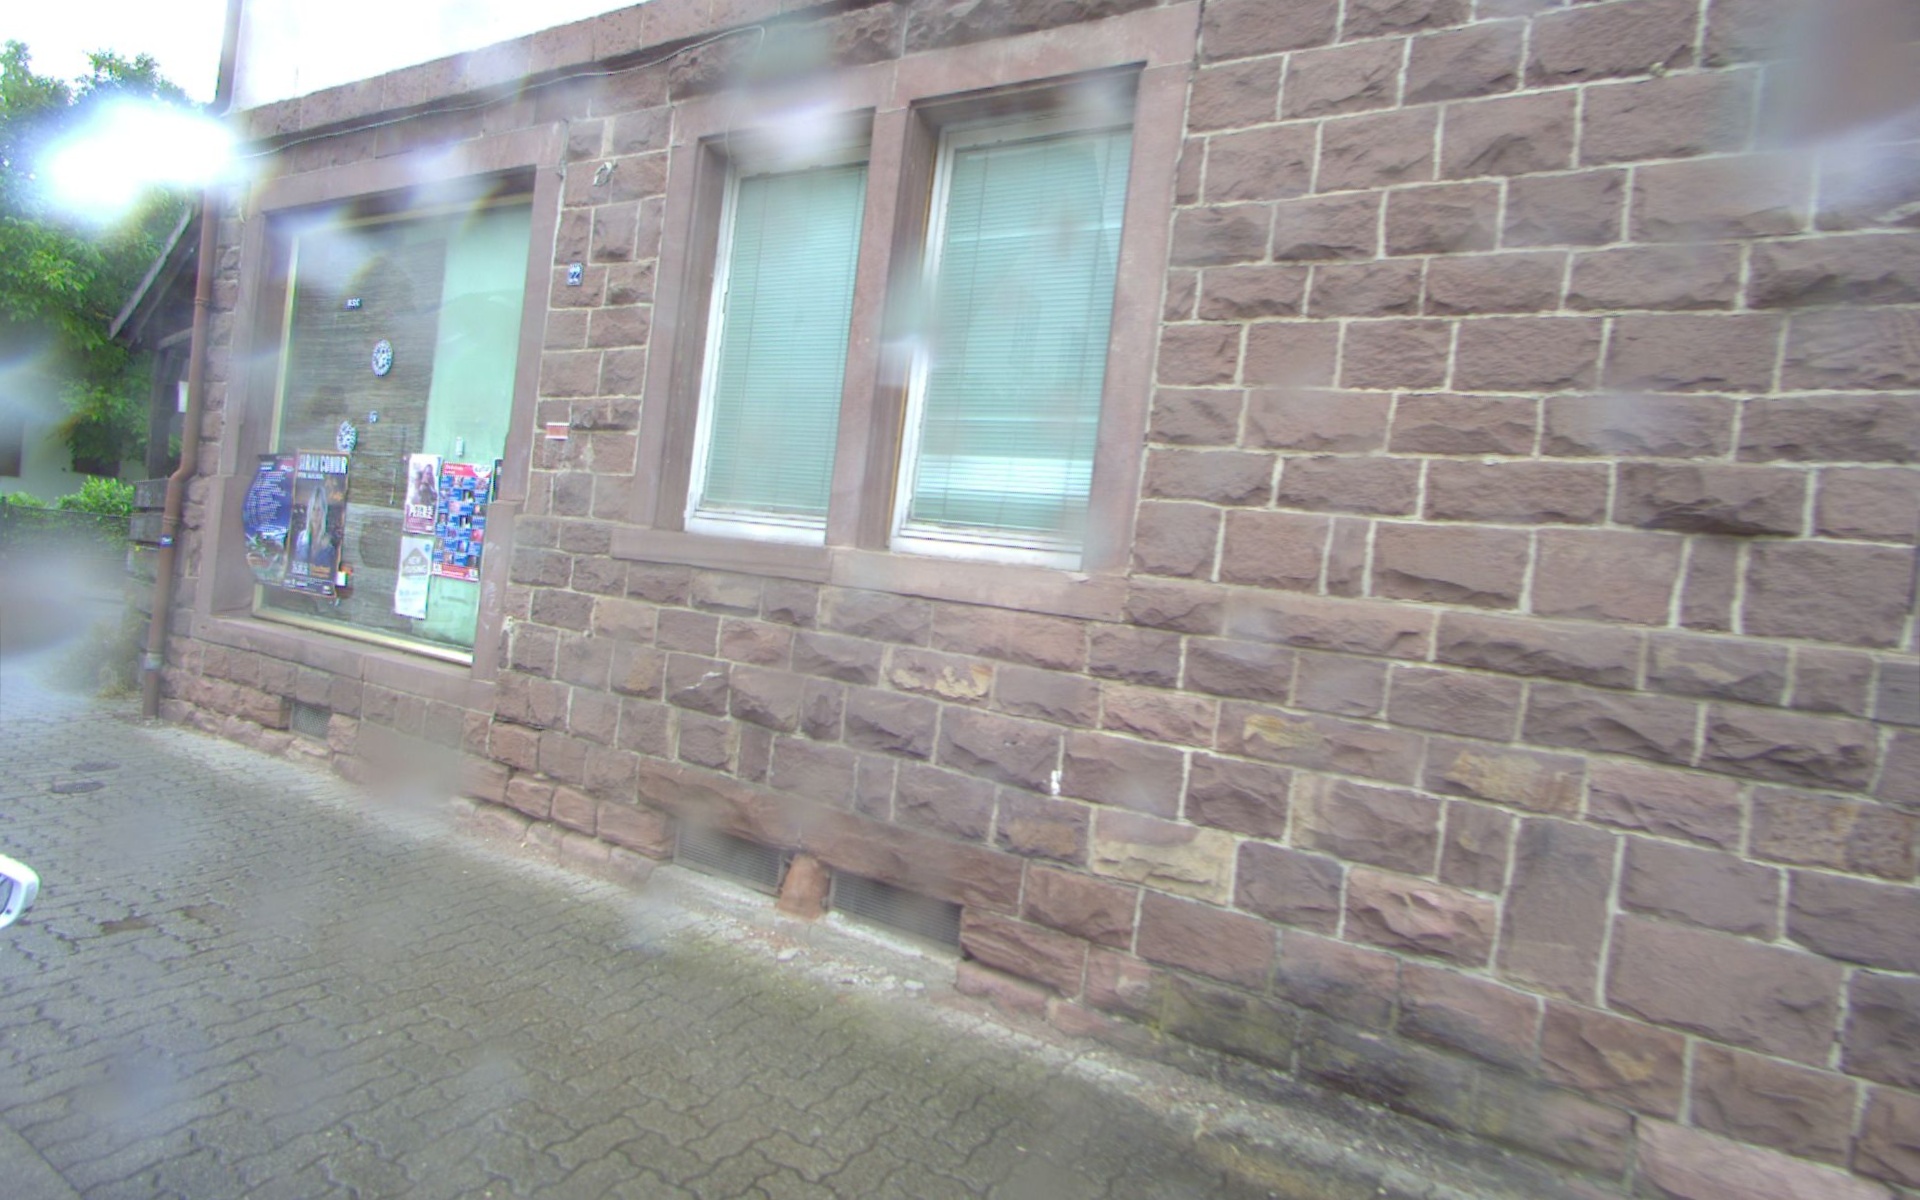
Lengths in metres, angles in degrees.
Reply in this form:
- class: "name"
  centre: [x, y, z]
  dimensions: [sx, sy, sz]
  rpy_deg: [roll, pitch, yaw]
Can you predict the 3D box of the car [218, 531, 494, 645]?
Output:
- class: "car"
  centre: [-11.078, -0.181, 18.619]
  dimensions: [3.979, 1.483, 1.762]
  rpy_deg: [10, -4, -44]
